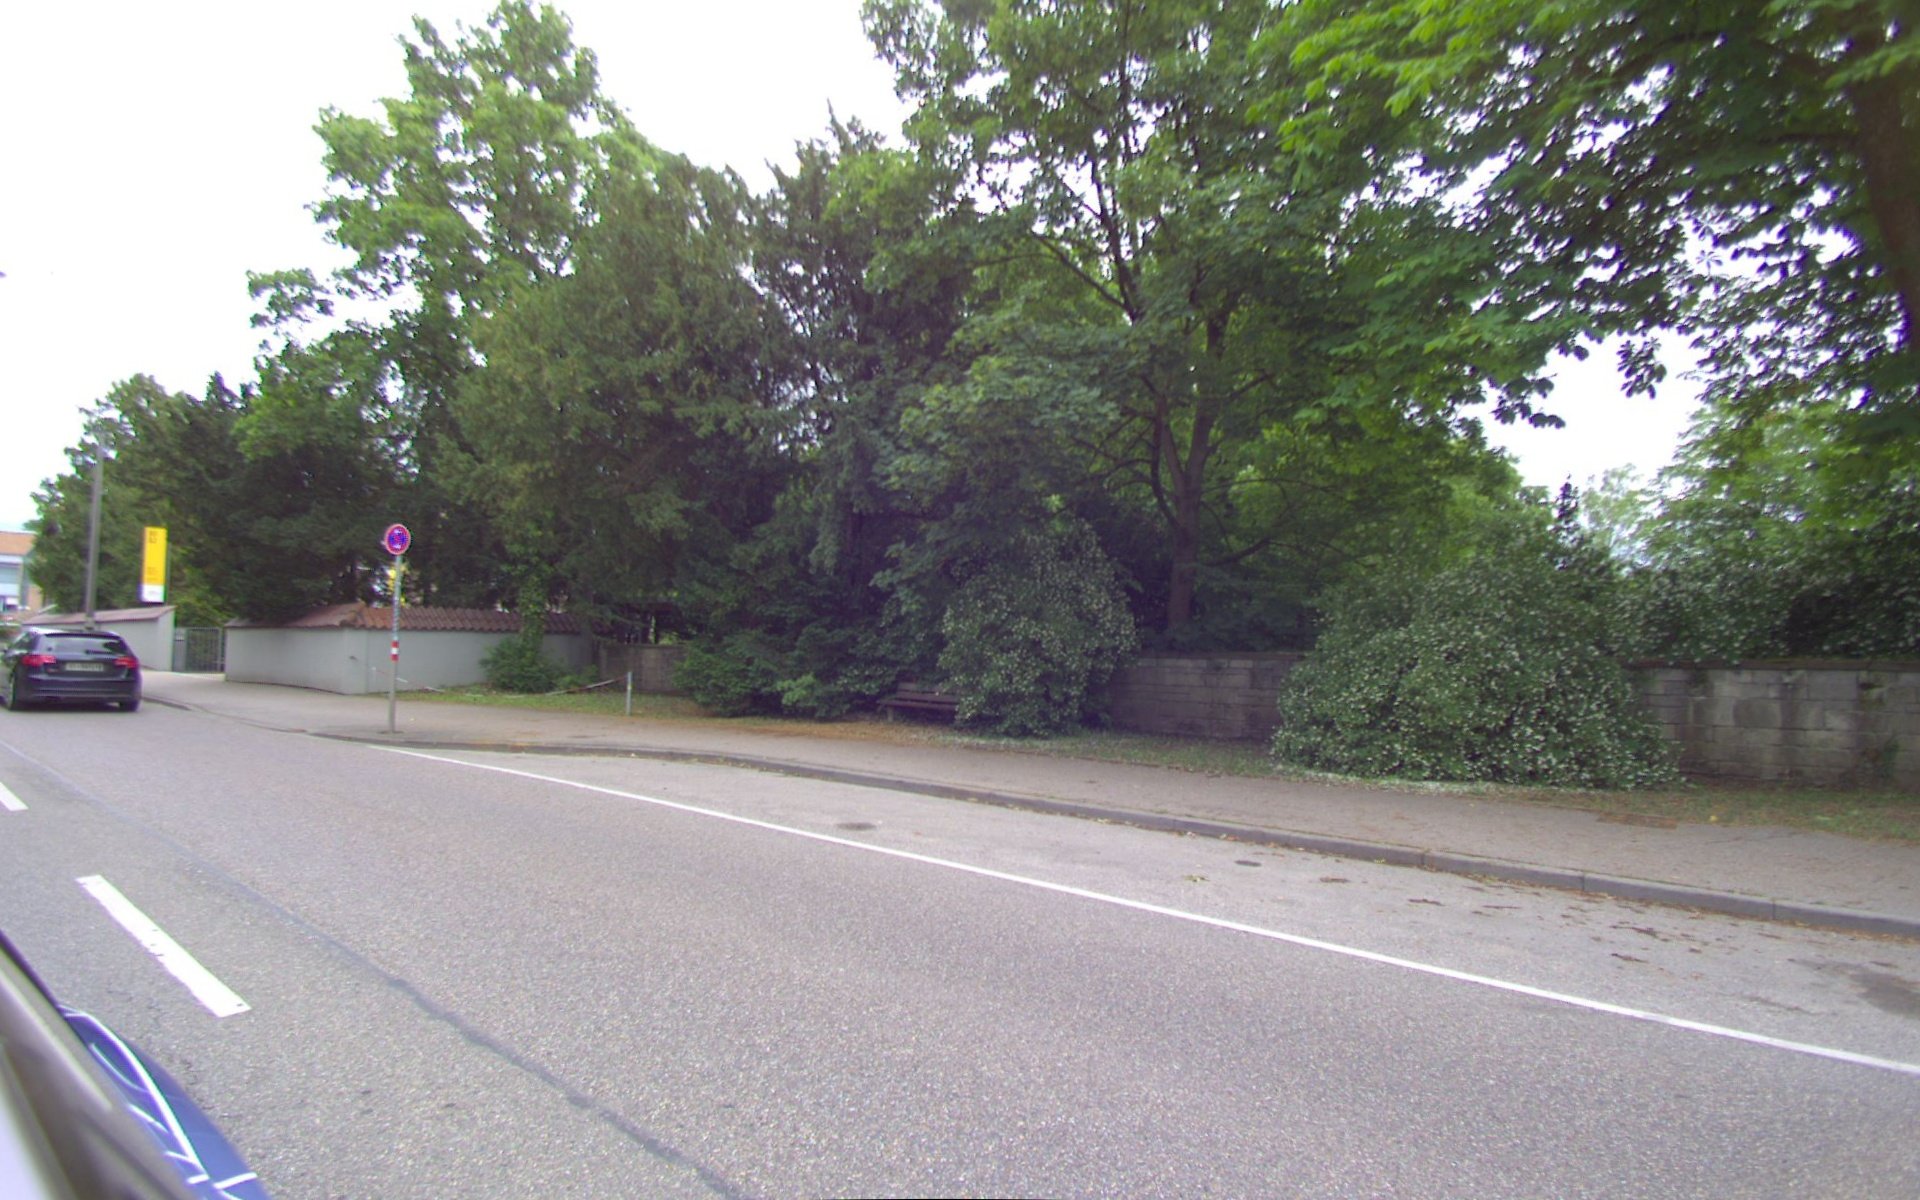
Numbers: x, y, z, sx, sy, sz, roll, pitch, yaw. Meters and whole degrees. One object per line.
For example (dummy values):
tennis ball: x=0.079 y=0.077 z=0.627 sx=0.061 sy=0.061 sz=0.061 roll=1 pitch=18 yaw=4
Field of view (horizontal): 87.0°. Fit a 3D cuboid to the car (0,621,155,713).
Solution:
car: x=-16.083 y=1.170 z=18.097 sx=4.109 sy=1.464 sz=1.840 roll=-1 pitch=-5 yaw=41
